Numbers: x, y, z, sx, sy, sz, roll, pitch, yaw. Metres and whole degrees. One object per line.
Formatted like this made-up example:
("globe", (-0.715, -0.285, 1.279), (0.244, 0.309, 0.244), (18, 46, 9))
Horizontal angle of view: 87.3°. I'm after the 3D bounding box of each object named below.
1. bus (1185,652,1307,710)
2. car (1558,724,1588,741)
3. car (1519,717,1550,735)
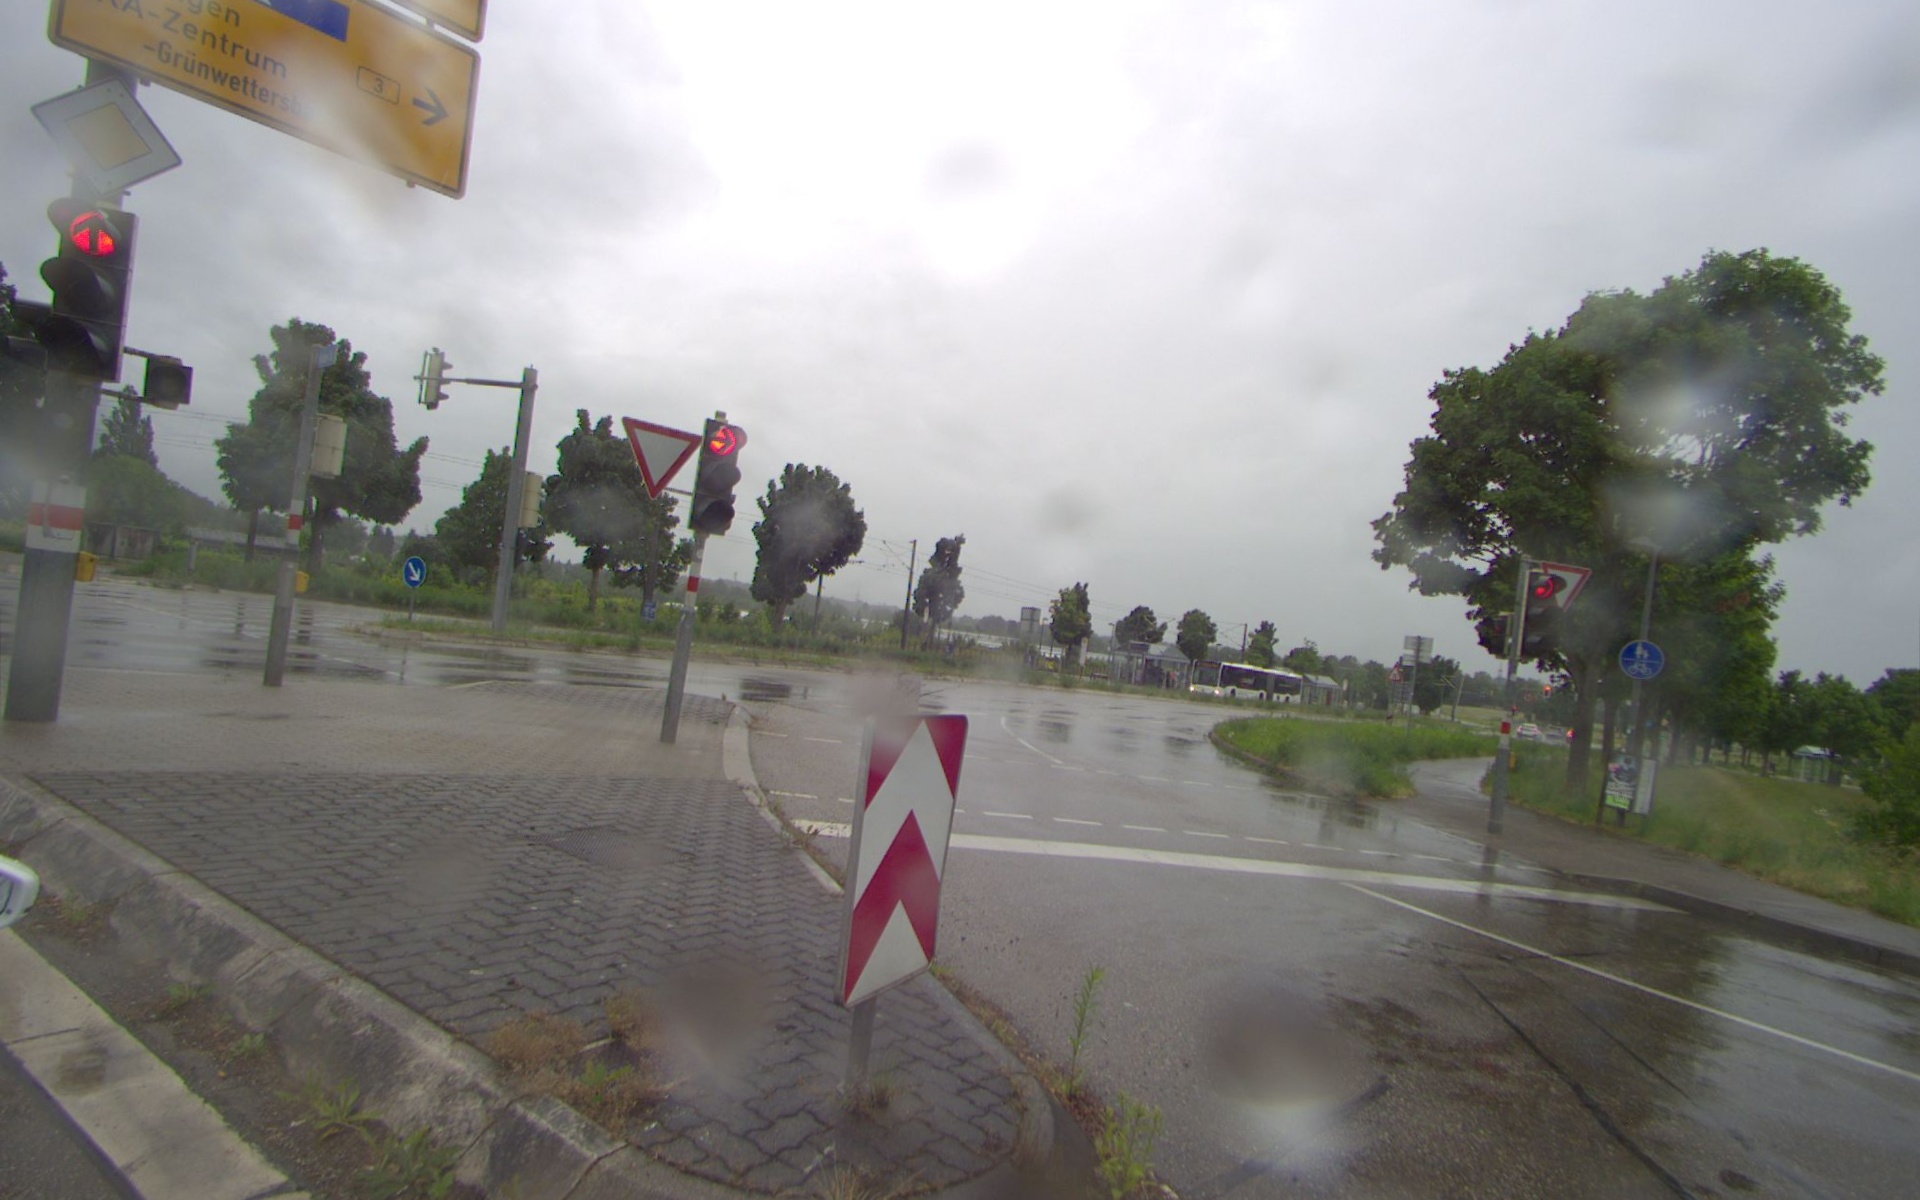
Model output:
("bus", (24.342, 6.990, 84.336), (2.715, 3.828, 18.378), (7, -2, 38))
("car", (61.075, 13.236, 100.212), (1.853, 1.370, 4.036), (6, -2, 40))
("car", (53.960, 11.822, 94.411), (1.852, 1.370, 4.037), (6, -2, 39))
